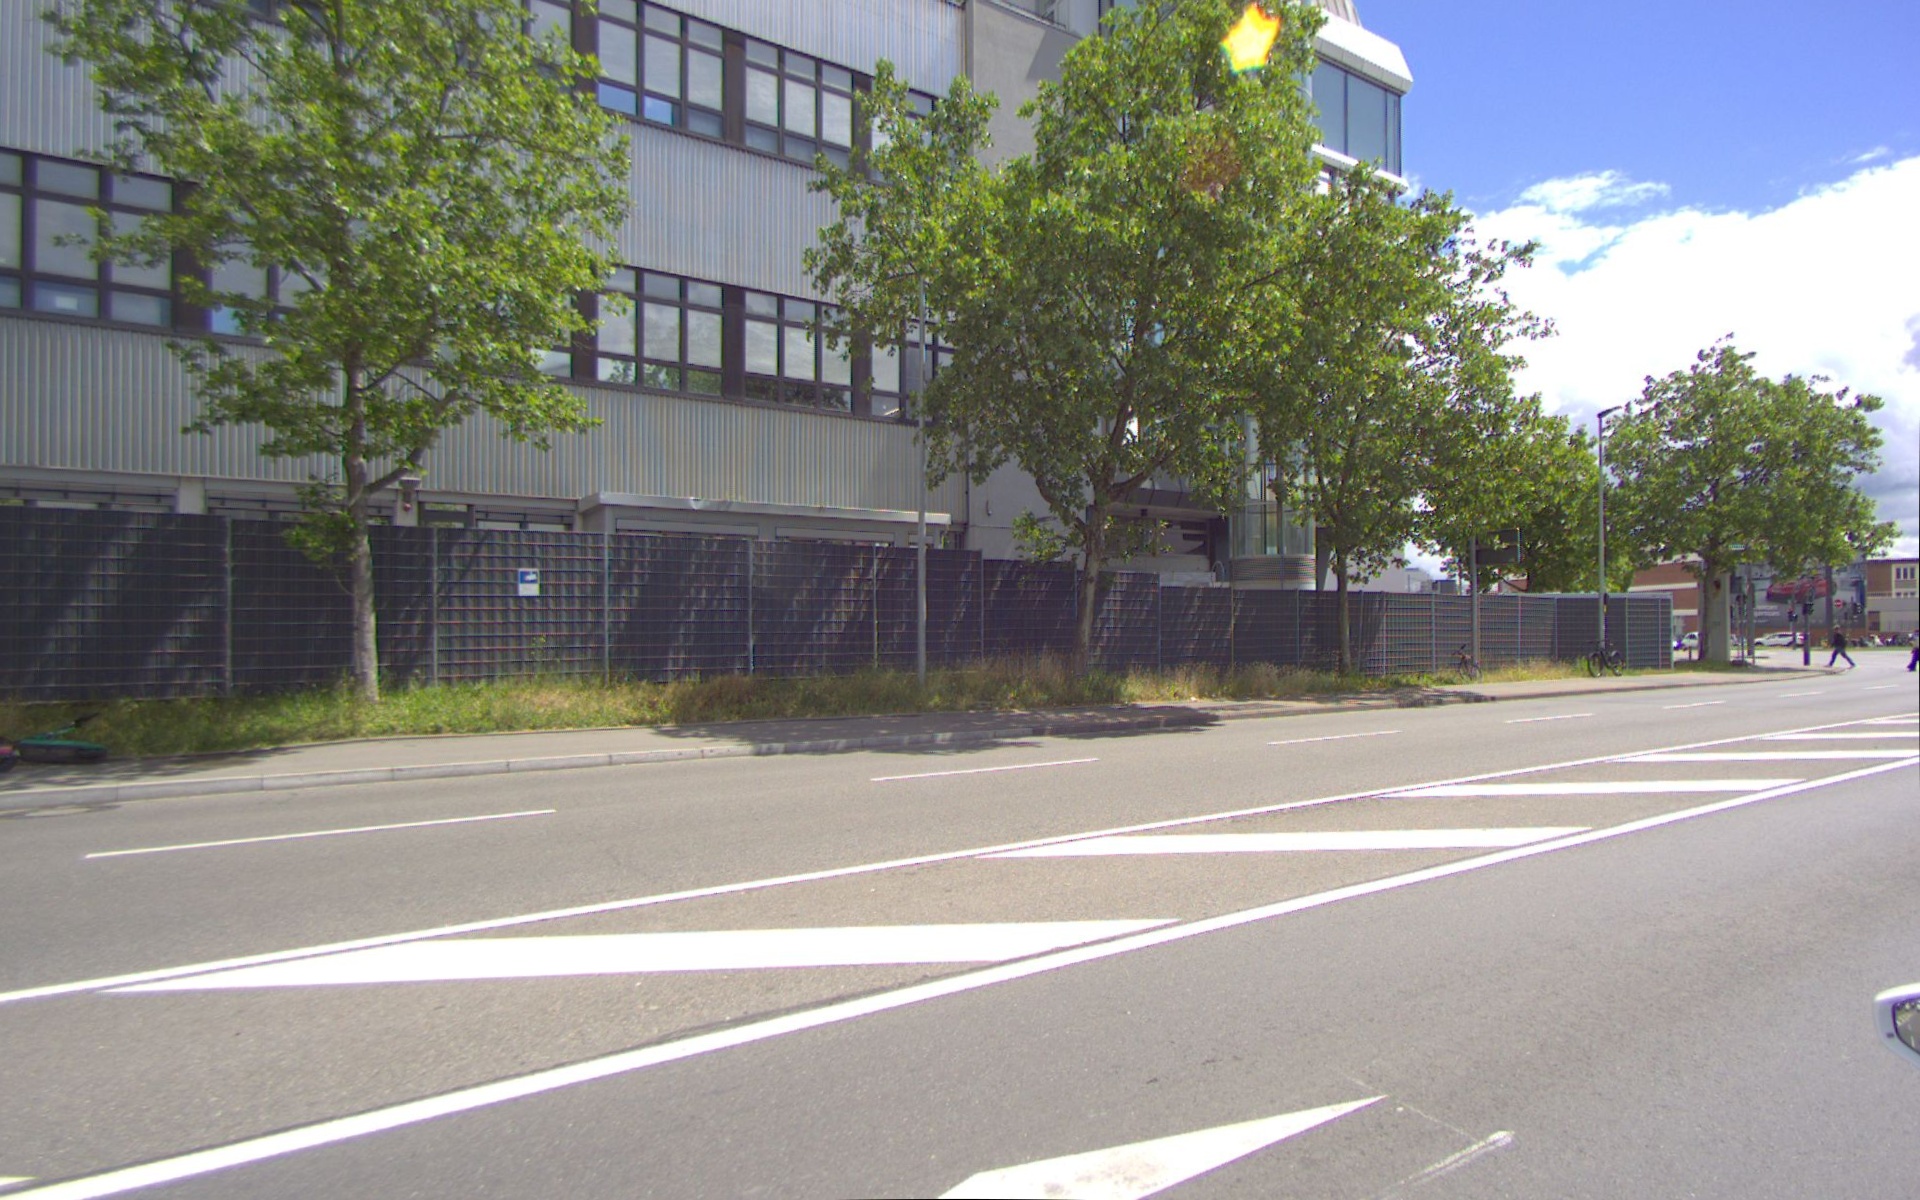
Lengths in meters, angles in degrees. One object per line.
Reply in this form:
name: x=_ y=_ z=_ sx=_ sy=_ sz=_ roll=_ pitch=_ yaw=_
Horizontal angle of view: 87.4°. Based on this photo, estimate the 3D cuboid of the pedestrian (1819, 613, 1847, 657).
pedestrian: x=37.305 y=1.490 z=42.919 sx=0.854 sy=1.797 sz=1.029 roll=1 pitch=0 yaw=44

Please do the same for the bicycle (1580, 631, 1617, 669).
bicycle: x=19.635 y=1.541 z=30.871 sx=1.467 sy=1.146 sz=0.295 roll=2 pitch=0 yaw=-30

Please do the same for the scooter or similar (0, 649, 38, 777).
scooter or similar: x=-10.203 y=1.144 z=10.069 sx=1.300 sy=1.251 sz=0.521 roll=0 pitch=2 yaw=-27

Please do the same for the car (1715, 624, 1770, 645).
car: x=65.366 y=2.854 z=84.007 sx=1.959 sy=1.598 sz=4.003 roll=1 pitch=0 yaw=10

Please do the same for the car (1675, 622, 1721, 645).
car: x=62.541 y=2.775 z=85.145 sx=1.873 sy=1.820 sz=3.777 roll=1 pitch=0 yaw=15

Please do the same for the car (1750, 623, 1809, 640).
car: x=76.847 y=2.935 z=94.253 sx=1.965 sy=1.520 sz=3.991 roll=1 pitch=0 yaw=-12

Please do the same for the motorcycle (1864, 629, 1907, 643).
motorcycle: x=87.175 y=3.384 z=94.633 sx=0.905 sy=1.211 sz=2.904 roll=1 pitch=0 yaw=-14

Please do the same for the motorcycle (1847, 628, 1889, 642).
motorcycle: x=84.795 y=3.297 z=93.819 sx=0.905 sy=1.211 sz=2.904 roll=1 pitch=0 yaw=-14

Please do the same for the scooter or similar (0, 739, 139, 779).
scooter or similar: x=-9.813 y=1.725 z=10.936 sx=1.249 sy=0.327 sz=0.538 roll=0 pitch=0 yaw=-8

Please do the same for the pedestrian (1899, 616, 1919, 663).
pedestrian: x=37.158 y=1.540 z=39.085 sx=0.854 sy=1.797 sz=1.029 roll=1 pitch=0 yaw=44

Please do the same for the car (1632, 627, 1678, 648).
car: x=58.370 y=3.116 z=84.440 sx=1.766 sy=1.577 sz=3.960 roll=1 pitch=0 yaw=13

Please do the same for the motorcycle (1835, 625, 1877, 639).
motorcycle: x=83.615 y=2.973 z=93.757 sx=0.905 sy=1.211 sz=2.904 roll=1 pitch=0 yaw=-14

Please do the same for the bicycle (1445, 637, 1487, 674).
bicycle: x=14.031 y=1.539 z=27.836 sx=1.234 sy=1.019 sz=0.296 roll=2 pitch=0 yaw=-23
